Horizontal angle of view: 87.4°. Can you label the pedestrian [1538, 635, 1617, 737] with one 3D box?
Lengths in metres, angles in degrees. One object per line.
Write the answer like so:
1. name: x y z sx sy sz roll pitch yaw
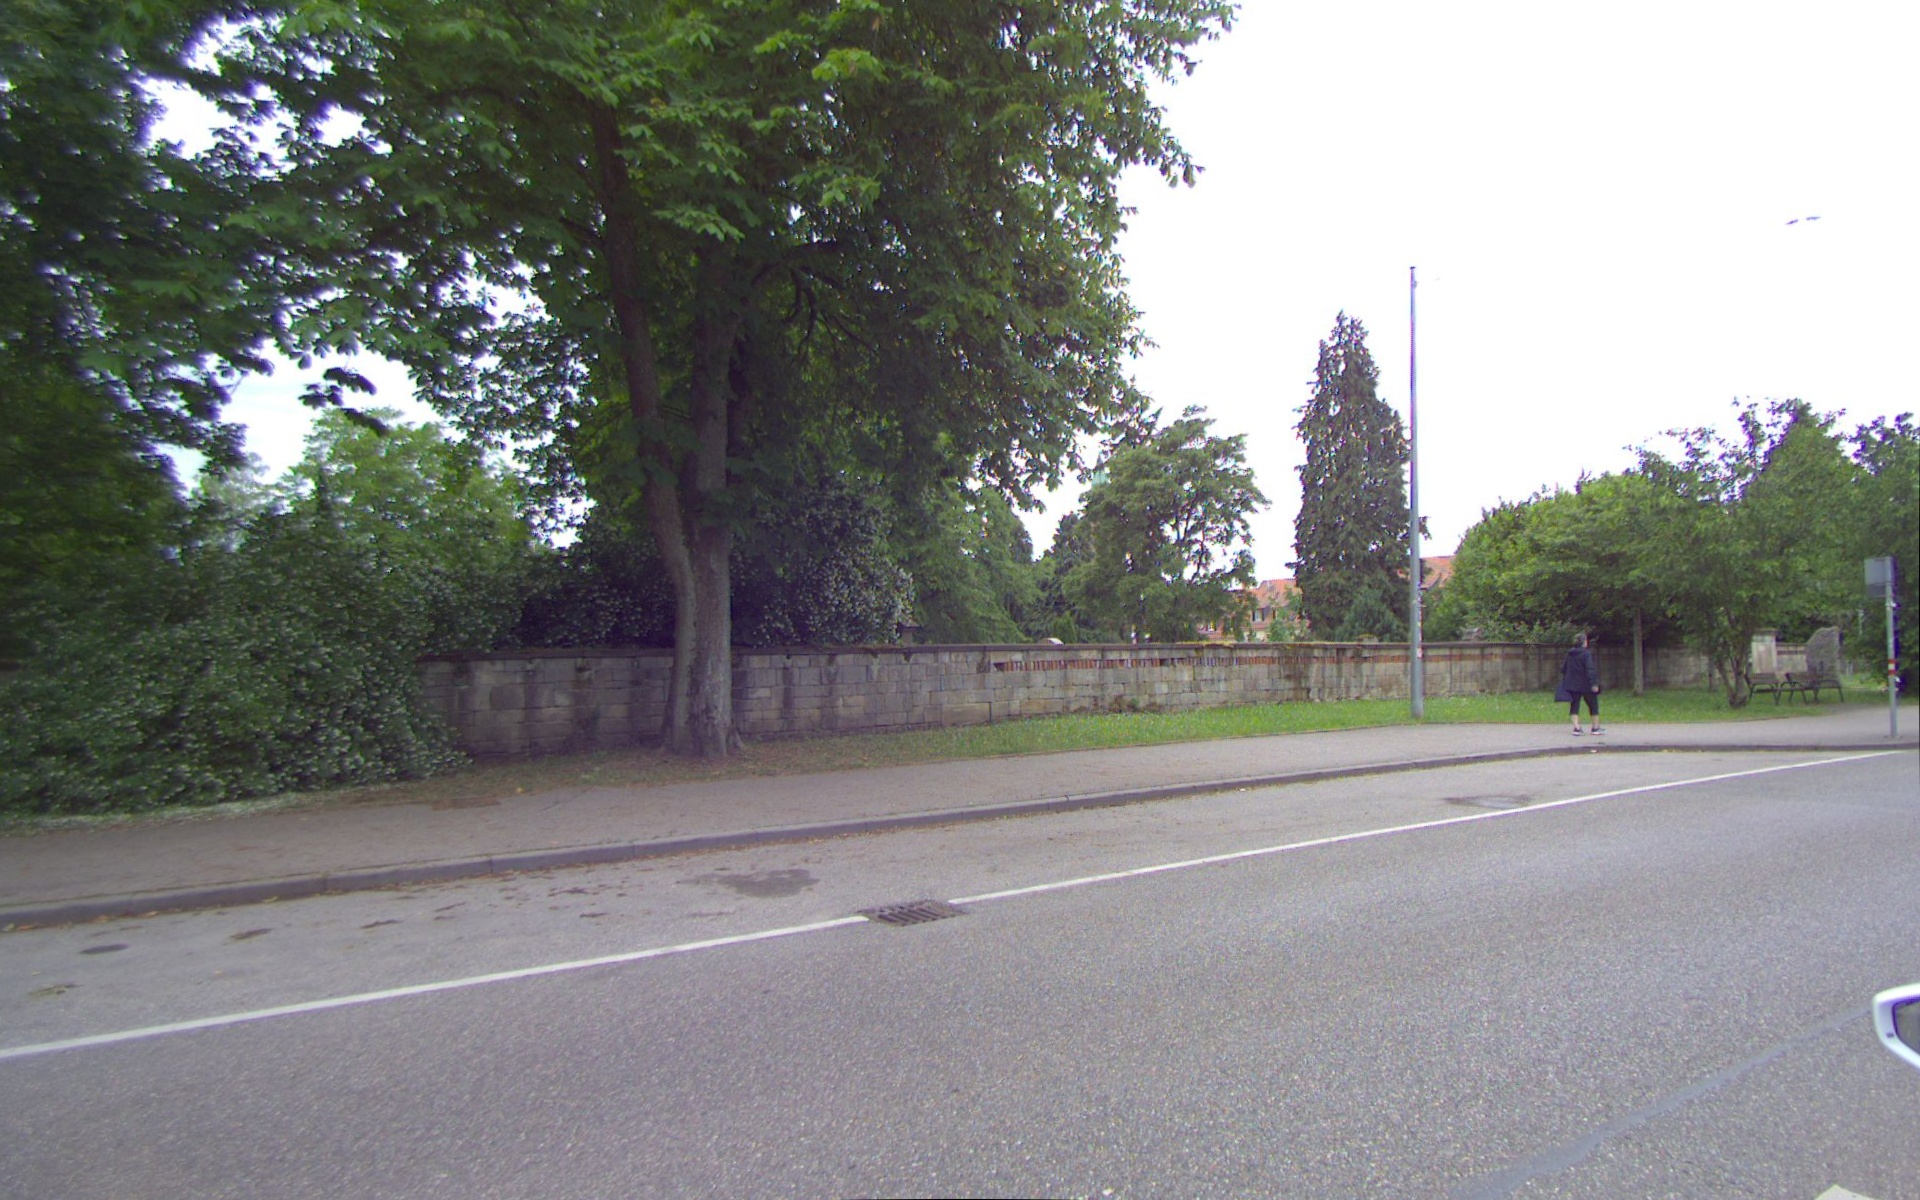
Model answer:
1. pedestrian: 10.074 1.375 16.392 0.955 1.599 0.745 1 -1 -30
